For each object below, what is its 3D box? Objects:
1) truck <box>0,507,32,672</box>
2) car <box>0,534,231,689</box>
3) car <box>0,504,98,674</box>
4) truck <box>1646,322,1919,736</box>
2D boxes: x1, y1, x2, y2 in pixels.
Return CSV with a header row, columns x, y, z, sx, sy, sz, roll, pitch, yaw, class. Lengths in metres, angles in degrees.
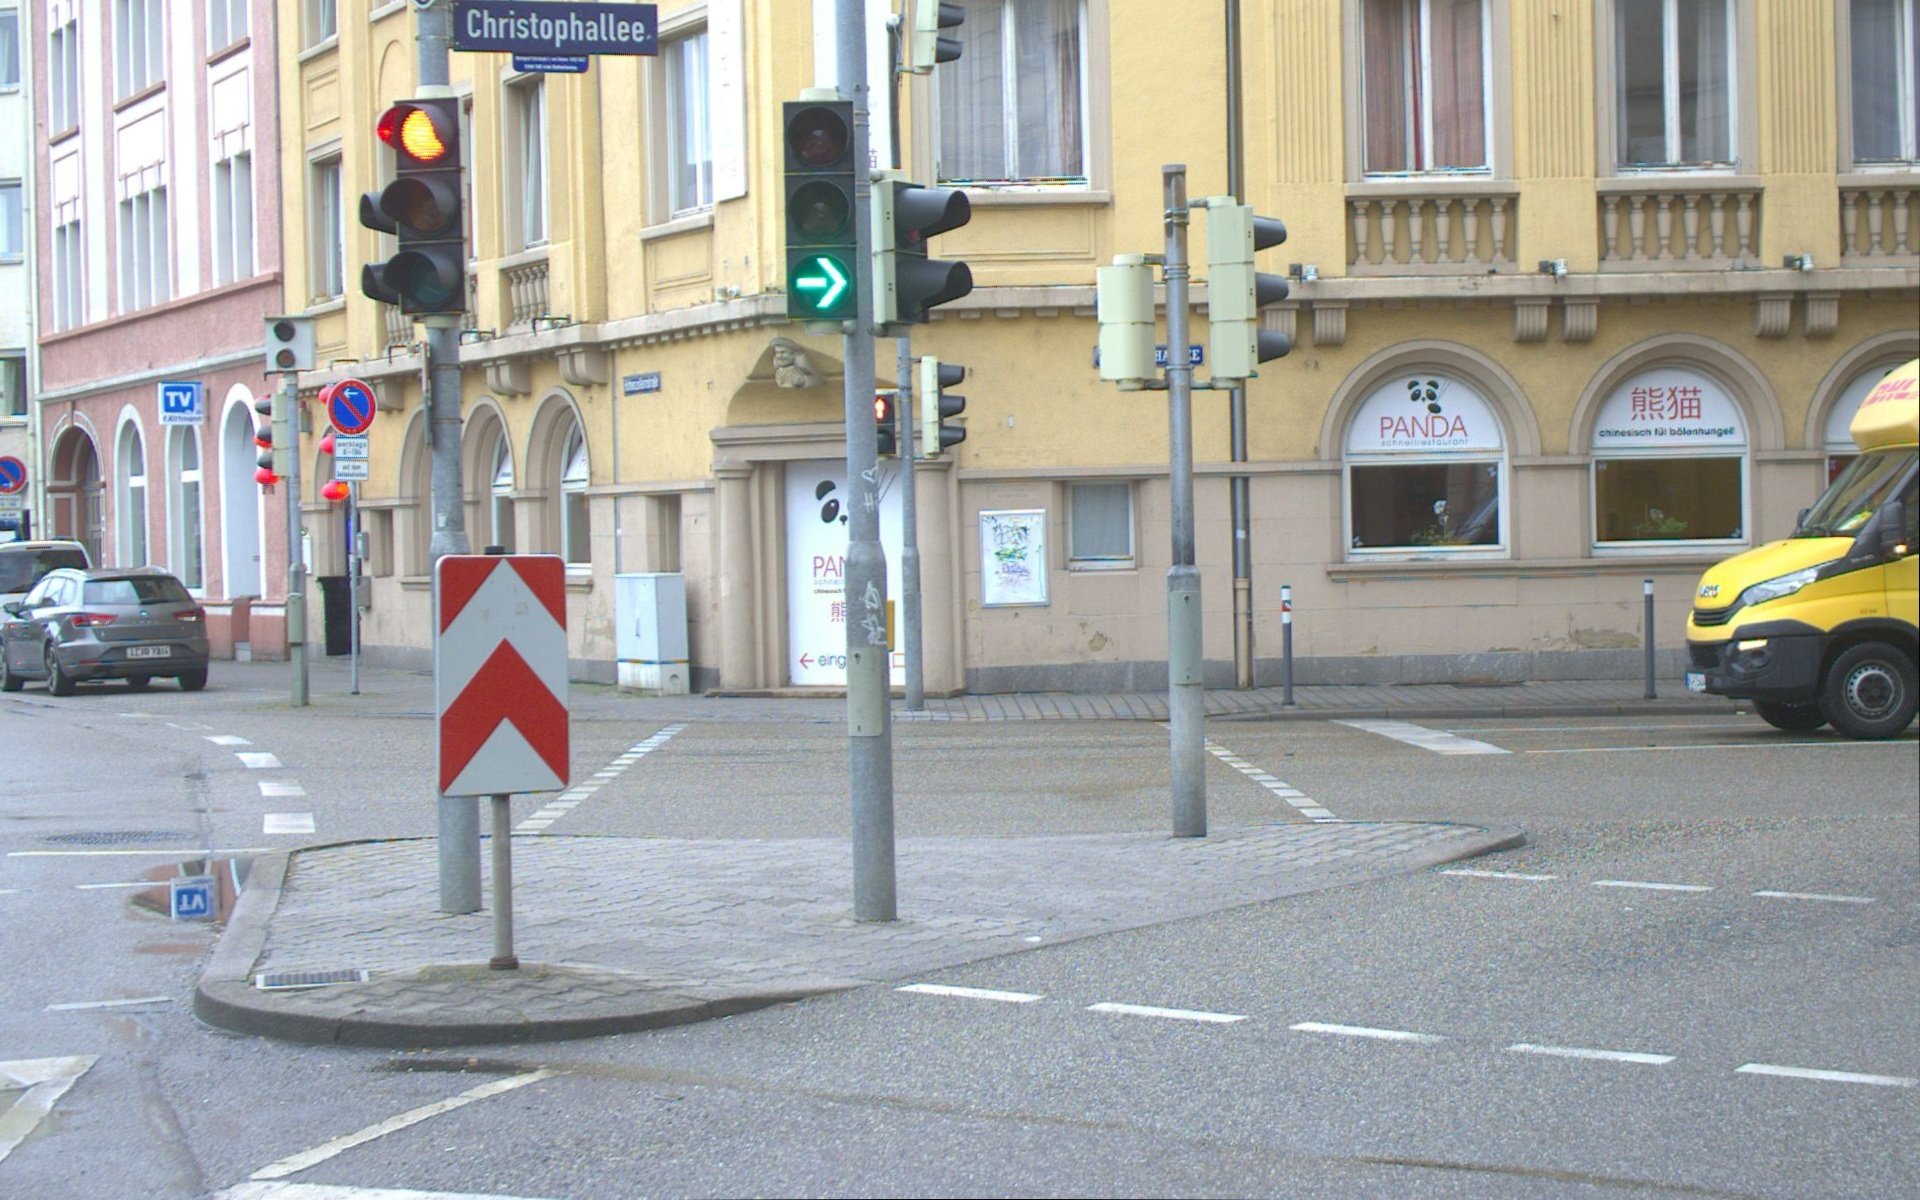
x,y,z,sx,sy,sz,roll,pitch,yaw,class
-15.338,-0.199,51.285,2.026,2.381,4.237,0,1,-28,truck
-9.919,0.116,39.808,1.878,1.631,4.000,-3,1,-27,car
-12.898,-0.186,45.989,1.761,2.172,4.001,0,1,-28,car
8.754,-0.536,24.908,7.090,2.841,2.083,-1,0,-3,truck
